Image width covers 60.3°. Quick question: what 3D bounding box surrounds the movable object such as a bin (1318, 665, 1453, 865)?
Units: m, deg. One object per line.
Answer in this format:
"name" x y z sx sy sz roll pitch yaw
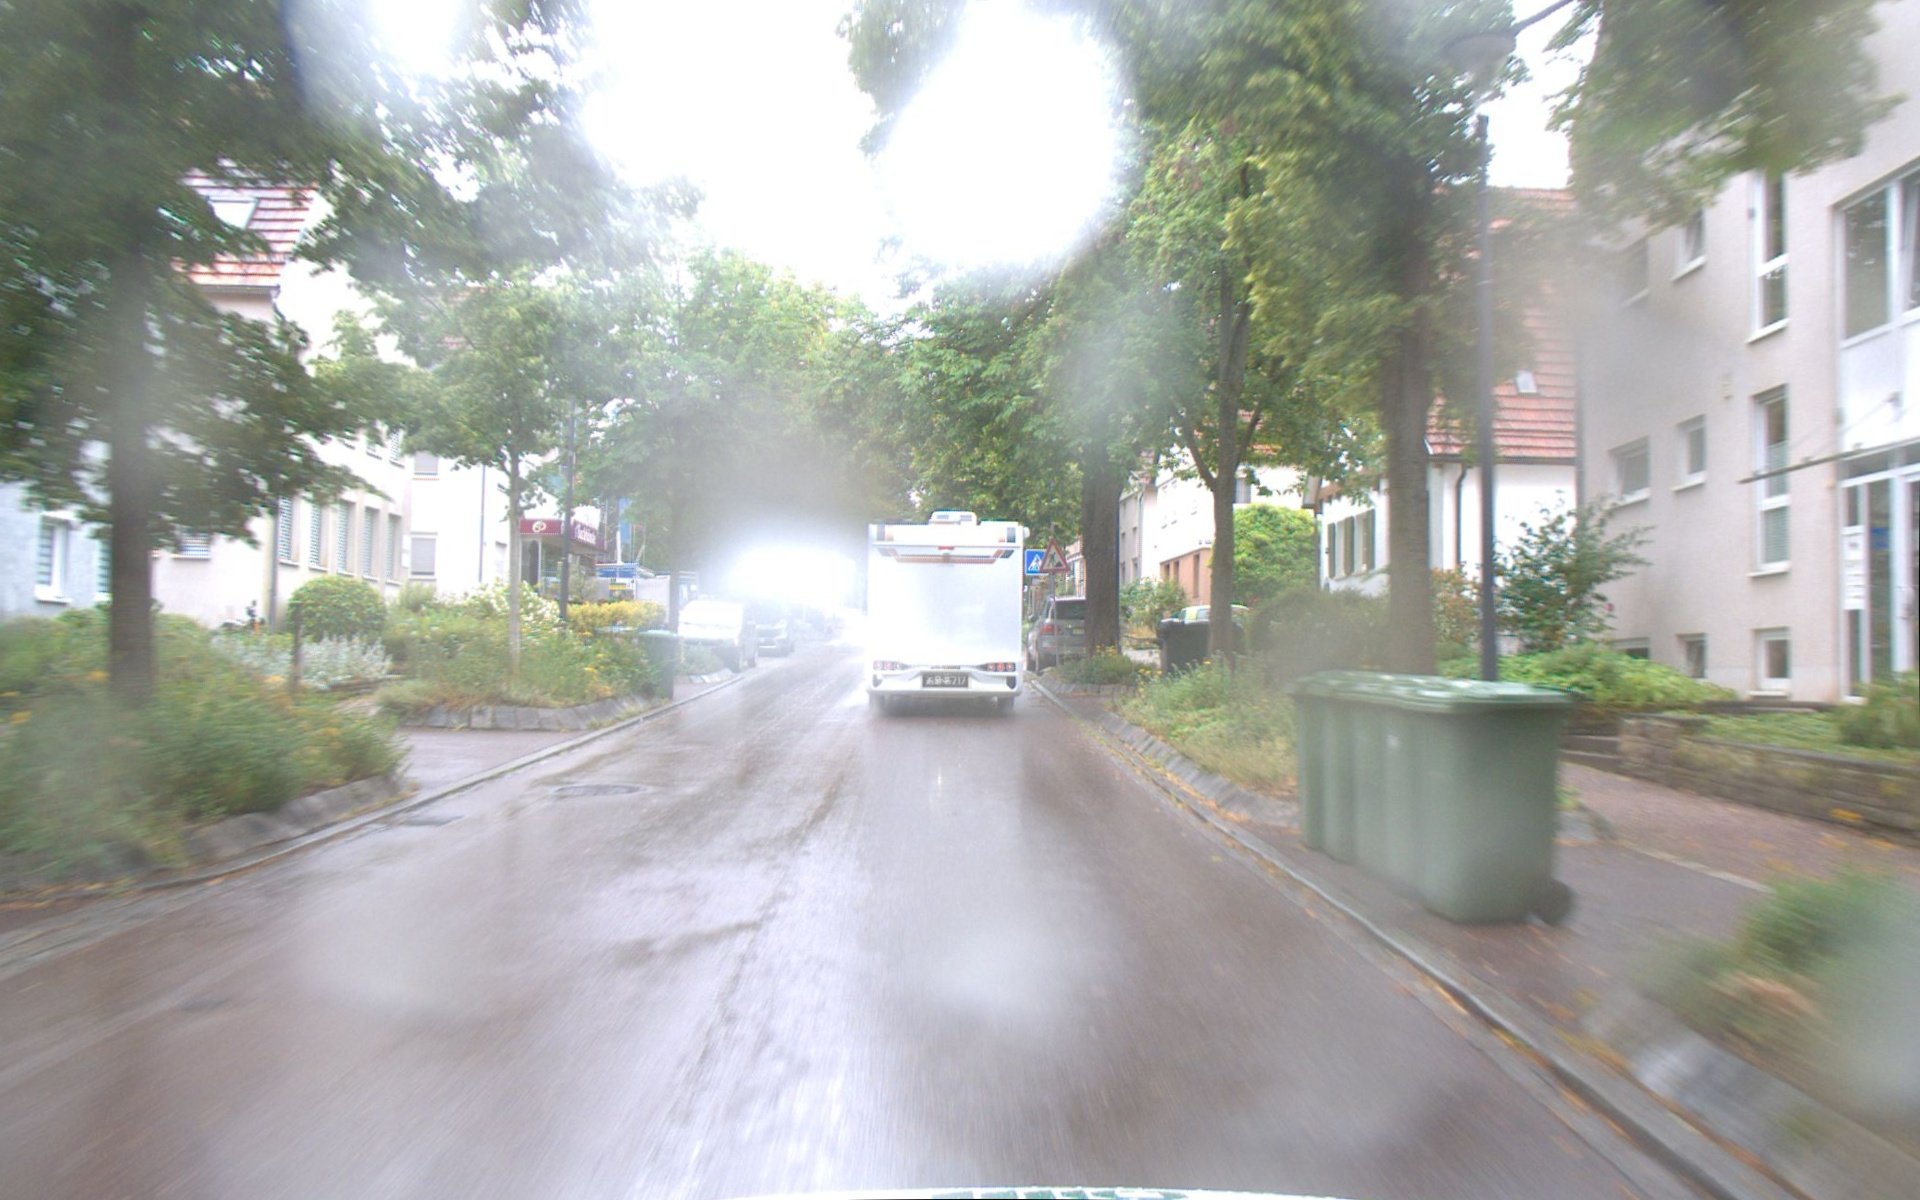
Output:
"movable object such as a bin" 2.443 0.938 9.522 0.618 1.101 0.471 1 -1 -5

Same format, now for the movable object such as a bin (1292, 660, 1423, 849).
"movable object such as a bin" 2.419 0.931 10.105 0.631 1.101 0.540 1 -1 -5

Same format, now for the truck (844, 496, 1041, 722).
"truck" -0.287 0.151 25.759 2.640 3.038 6.235 1 -1 -1

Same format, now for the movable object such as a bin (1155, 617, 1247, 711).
"movable object such as a bin" 3.516 0.916 24.218 1.199 1.338 1.134 0 -1 1

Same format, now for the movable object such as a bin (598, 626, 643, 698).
"movable object such as a bin" -5.442 0.993 26.543 0.598 1.130 0.564 0 0 1

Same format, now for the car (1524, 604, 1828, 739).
"car" 12.462 1.225 28.976 4.372 1.933 1.999 5 -1 -2

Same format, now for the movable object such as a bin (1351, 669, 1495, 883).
"movable object such as a bin" 2.500 0.940 8.966 0.597 1.101 0.512 1 -1 -5

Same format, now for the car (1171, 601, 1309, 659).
"car" 7.355 0.779 43.633 3.298 1.455 1.629 -1 0 -5

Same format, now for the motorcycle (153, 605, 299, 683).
"motorcycle" -11.679 0.693 26.360 1.942 1.182 0.818 1 -1 -1

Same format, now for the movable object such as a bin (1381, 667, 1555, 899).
"movable object such as a bin" 2.533 0.900 8.283 0.674 1.101 0.540 1 -1 -5

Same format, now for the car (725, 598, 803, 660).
"car" -5.526 0.787 46.953 1.736 1.580 3.999 3 0 -1

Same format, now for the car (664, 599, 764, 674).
"car" -5.556 0.789 37.755 1.613 1.560 3.866 2 0 1

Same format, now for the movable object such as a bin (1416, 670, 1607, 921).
"movable object such as a bin" 2.549 0.890 7.684 0.674 1.101 0.540 1 -1 -5

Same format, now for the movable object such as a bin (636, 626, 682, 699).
"movable object such as a bin" -4.766 0.985 26.205 0.629 1.130 0.536 0 0 1

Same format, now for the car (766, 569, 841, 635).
"car" -6.283 0.024 67.089 2.256 2.526 5.786 1 1 2

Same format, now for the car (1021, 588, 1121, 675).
"car" 2.482 0.686 37.830 1.875 1.824 4.487 1 0 -1
